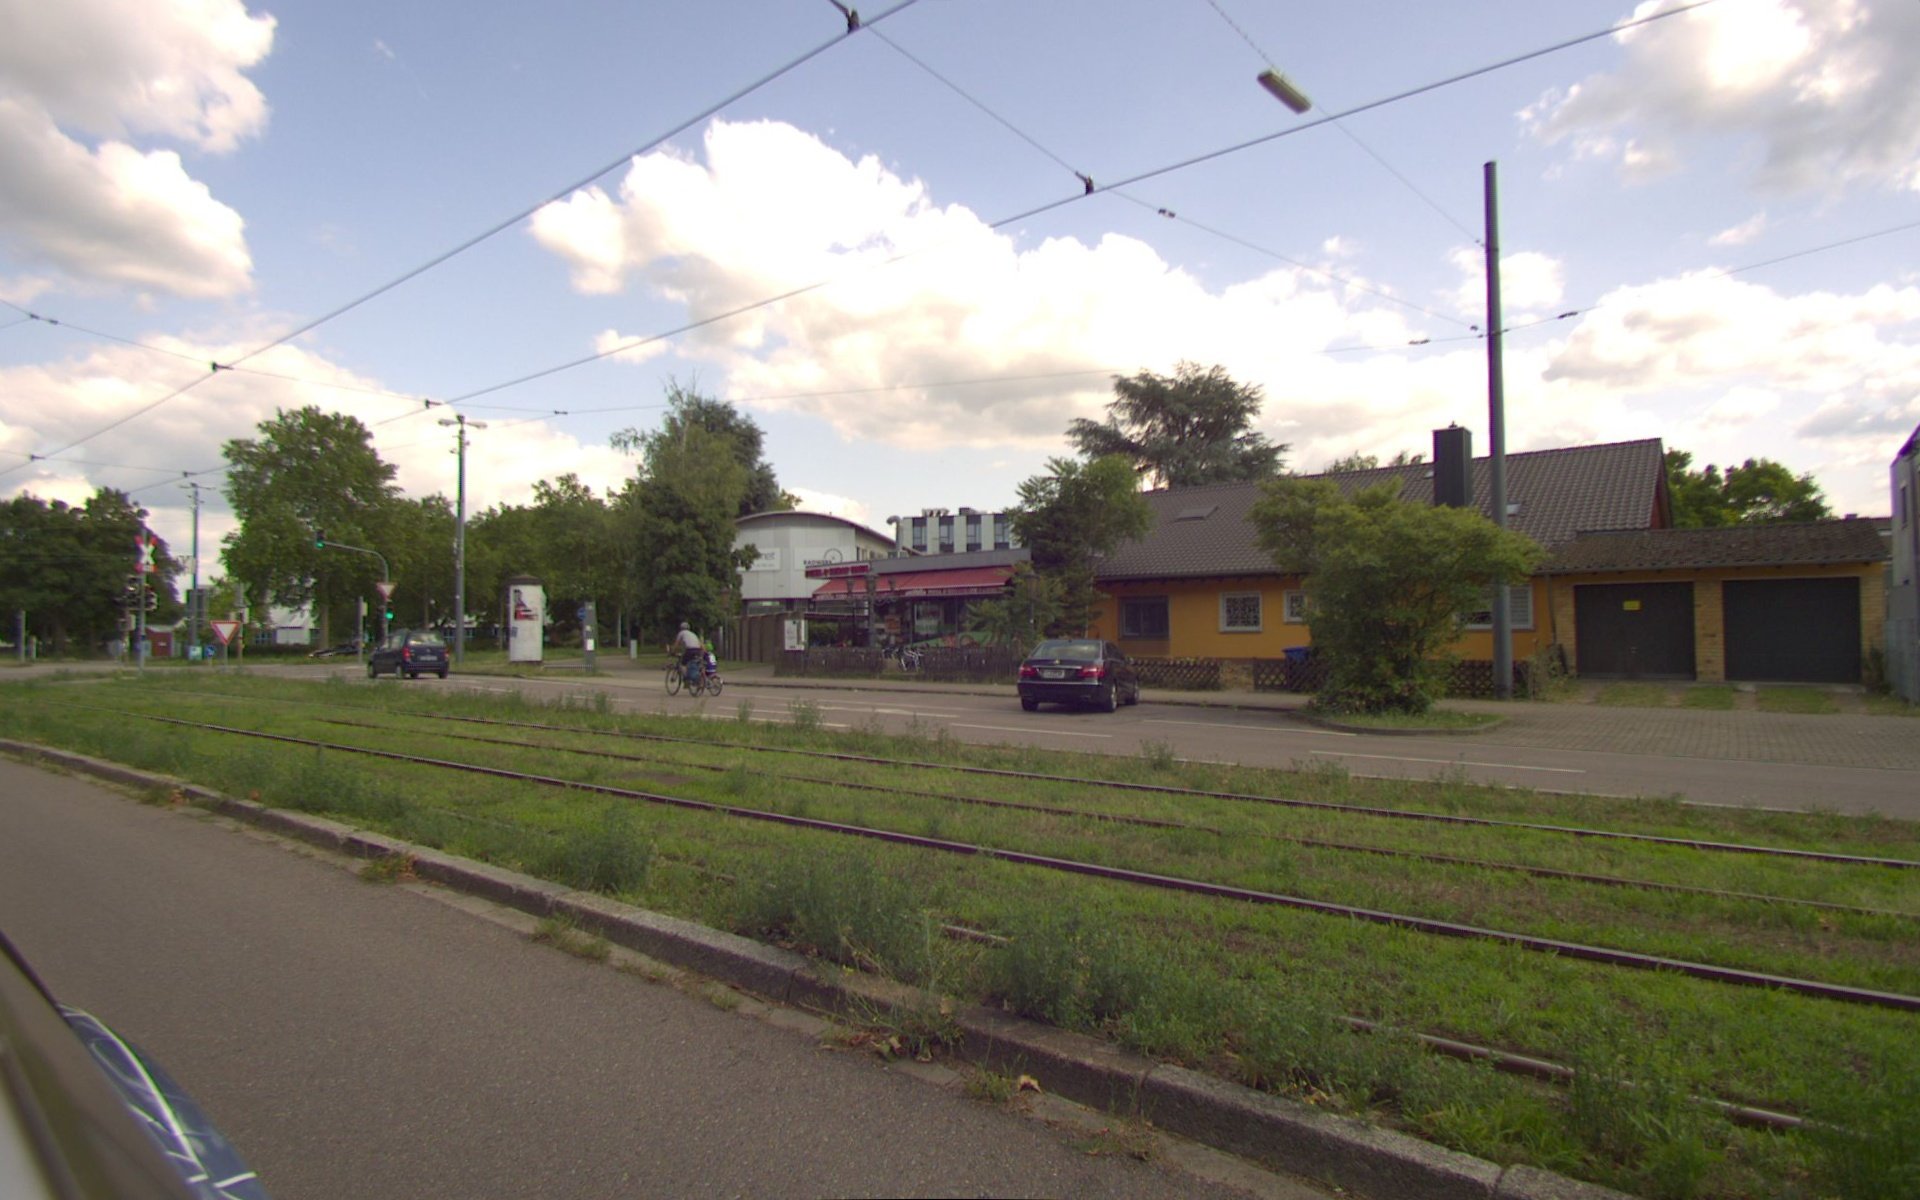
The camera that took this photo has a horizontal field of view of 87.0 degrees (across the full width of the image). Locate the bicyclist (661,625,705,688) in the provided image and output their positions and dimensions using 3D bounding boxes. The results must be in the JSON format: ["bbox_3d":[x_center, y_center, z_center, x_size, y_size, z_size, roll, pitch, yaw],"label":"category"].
[{"bbox_3d":[-6.639,1.339,24.256,0.928,1.469,0.616,-3,-3,42],"label":"bicyclist"}]

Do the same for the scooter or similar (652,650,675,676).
[{"bbox_3d":[-12.252,2.604,41.824,0.421,1.041,1.225,1,-3,-41],"label":"scooter or similar"}]

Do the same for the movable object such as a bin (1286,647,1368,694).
[{"bbox_3d":[9.152,1.732,25.246,1.615,1.101,1.242,-2,-3,38],"label":"movable object such as a bin"}]

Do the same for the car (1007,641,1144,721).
[{"bbox_3d":[2.516,1.576,20.887,1.868,1.418,4.621,0,-2,19],"label":"car"}]

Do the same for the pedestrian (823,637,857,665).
[{"bbox_3d":[-5.102,2.180,43.116,0.931,1.155,1.141,-3,-3,40],"label":"pedestrian"}]

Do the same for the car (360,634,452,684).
[{"bbox_3d":[-19.423,2.027,35.439,3.494,1.639,1.759,-2,-3,42],"label":"car"}]

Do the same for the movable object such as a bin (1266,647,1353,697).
[{"bbox_3d":[8.308,1.688,24.063,1.615,1.109,1.242,-2,-3,38],"label":"movable object such as a bin"}]

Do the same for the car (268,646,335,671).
[{"bbox_3d":[-43.875,3.891,67.522,1.679,1.535,3.848,-1,-2,7],"label":"car"}]

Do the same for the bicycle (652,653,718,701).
[{"bbox_3d":[-6.588,1.824,24.188,1.804,1.088,0.639,-2,-3,42],"label":"bicycle"}]

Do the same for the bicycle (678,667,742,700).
[{"bbox_3d":[-6.122,2.029,24.737,1.804,0.723,0.639,-2,-3,42],"label":"bicycle"}]

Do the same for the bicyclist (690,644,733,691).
[{"bbox_3d":[-6.067,1.639,24.706,0.928,1.121,0.632,-3,-3,42],"label":"bicyclist"}]
